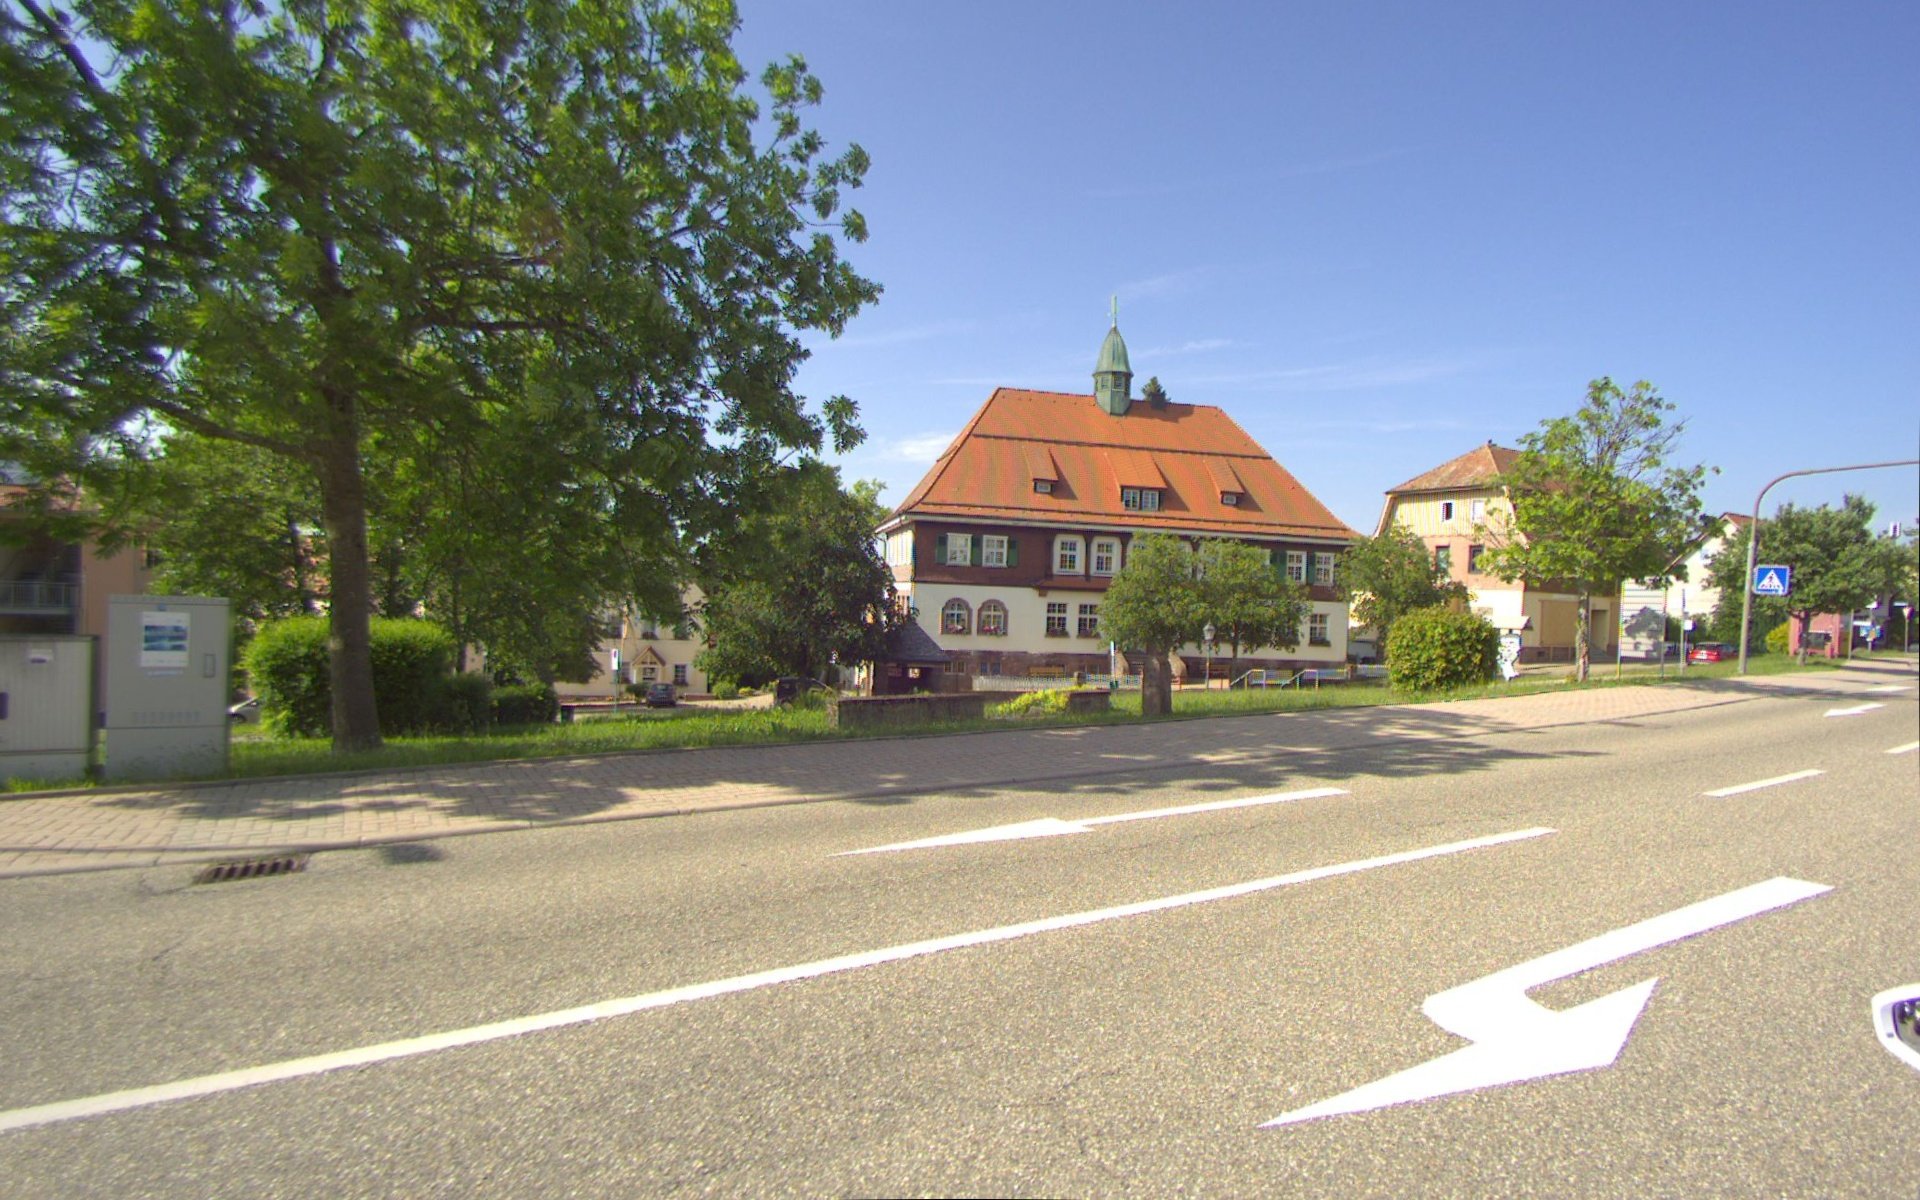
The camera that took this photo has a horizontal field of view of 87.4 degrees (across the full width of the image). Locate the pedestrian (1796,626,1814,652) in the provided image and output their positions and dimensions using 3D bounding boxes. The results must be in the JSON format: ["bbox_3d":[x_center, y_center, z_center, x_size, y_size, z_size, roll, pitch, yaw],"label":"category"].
[{"bbox_3d":[40.819,1.879,48.515,0.622,1.269,0.421,-1,-2,45],"label":"pedestrian"}]

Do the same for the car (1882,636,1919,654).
[{"bbox_3d":[87.963,4.183,92.831,1.798,1.472,3.741,8,-5,-30],"label":"car"}]

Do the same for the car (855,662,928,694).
[{"bbox_3d":[-3.472,3.898,50.373,3.442,1.486,1.574,1,-2,-14],"label":"car"}]

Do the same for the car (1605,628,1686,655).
[{"bbox_3d":[47.696,2.897,70.001,1.781,1.531,4.277,4,0,-32],"label":"car"}]

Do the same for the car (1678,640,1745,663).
[{"bbox_3d":[44.526,3.029,59.523,3.951,1.314,1.714,2,-2,-29],"label":"car"}]

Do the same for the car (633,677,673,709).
[{"bbox_3d":[-18.074,5.451,59.119,1.970,1.639,3.981,1,-2,-21],"label":"car"}]

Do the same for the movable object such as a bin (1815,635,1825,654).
[{"bbox_3d":[39.539,2.045,46.183,0.301,0.848,0.482,0,-1,44],"label":"movable object such as a bin"}]
